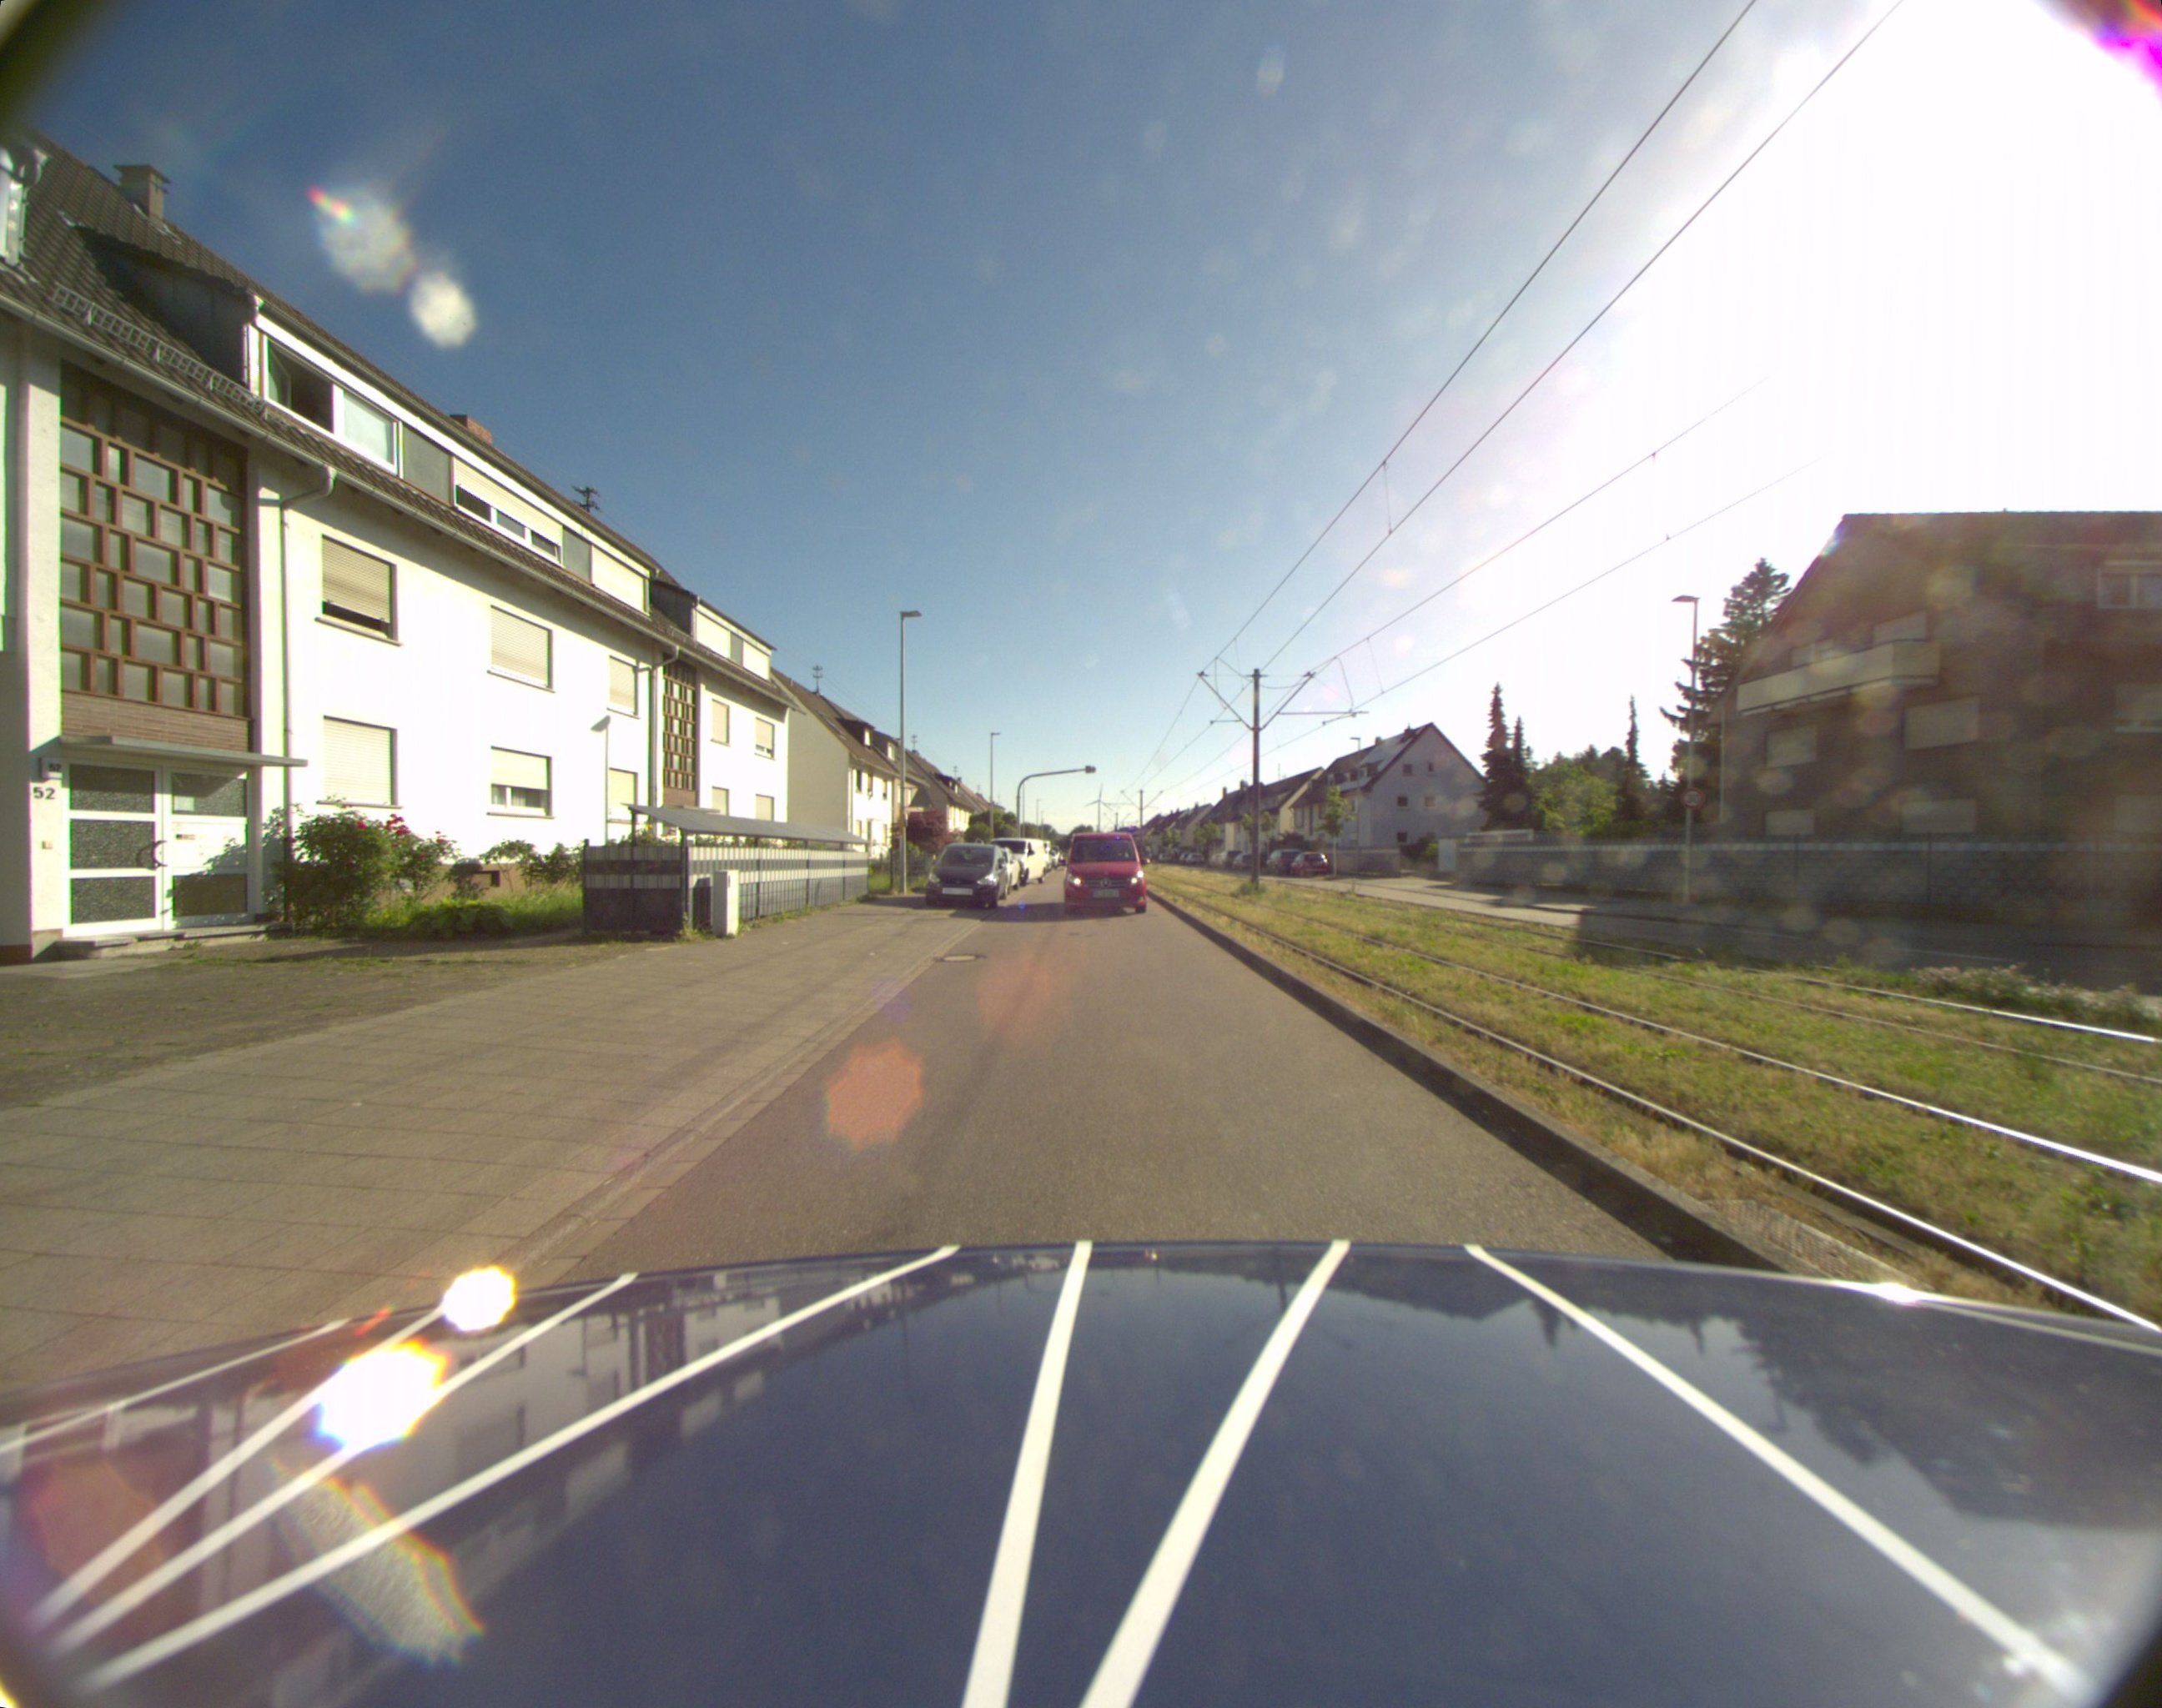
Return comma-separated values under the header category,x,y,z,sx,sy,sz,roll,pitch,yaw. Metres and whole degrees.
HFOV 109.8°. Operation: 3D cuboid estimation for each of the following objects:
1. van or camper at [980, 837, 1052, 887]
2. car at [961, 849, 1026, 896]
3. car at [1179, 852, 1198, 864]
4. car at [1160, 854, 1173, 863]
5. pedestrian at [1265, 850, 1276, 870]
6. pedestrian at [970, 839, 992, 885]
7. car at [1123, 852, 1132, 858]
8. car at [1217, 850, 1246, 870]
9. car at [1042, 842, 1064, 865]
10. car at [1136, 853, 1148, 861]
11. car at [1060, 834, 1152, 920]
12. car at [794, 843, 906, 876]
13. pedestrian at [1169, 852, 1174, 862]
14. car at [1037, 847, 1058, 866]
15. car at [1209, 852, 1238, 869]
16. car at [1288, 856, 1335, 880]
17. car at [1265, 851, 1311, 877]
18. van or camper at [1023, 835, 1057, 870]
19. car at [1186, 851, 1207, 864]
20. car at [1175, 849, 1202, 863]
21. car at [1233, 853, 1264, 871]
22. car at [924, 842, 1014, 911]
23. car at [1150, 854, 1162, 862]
category,x,y,z,sx,sy,sz,roll,pitch,yaw
van or camper,-2.663,0.302,32.459,2.032,1.945,5.297,1,0,7
car,-2.967,0.583,26.587,1.660,1.484,4.159,1,1,2
car,14.181,0.499,100.220,1.693,1.464,4.313,-1,1,-2
car,13.857,0.788,123.301,1.662,1.428,4.102,0,0,-2
pedestrian,16.261,0.509,65.230,0.697,1.631,0.919,-1,1,-2
pedestrian,-4.186,0.331,31.862,0.700,1.901,0.759,-1,1,9
car,11.173,0.171,182.643,1.705,1.389,4.091,-1,1,-2
car,14.125,0.541,71.678,1.749,1.812,4.841,-1,0,0
car,-2.712,-0.095,75.885,1.965,2.131,5.334,1,0,0
car,12.706,0.602,157.559,1.926,1.551,4.857,-1,1,-2
car,0.477,0.493,19.508,1.999,1.889,5.389,0,1,-2
car,-10.838,0.244,35.919,4.724,1.469,1.906,1,1,-2
pedestrian,15.509,0.498,130.045,0.617,1.805,0.678,-1,1,-10
car,-3.085,0.227,70.088,1.730,1.636,4.318,2,0,0
car,14.376,0.649,76.866,1.965,1.531,4.556,-1,1,0
car,14.229,0.843,47.085,1.699,1.396,4.078,1,0,1
car,14.224,0.618,52.477,1.824,1.674,4.845,-1,0,0
van or camper,-2.847,-0.112,53.782,1.998,2.258,6.304,2,1,0
car,14.264,0.390,94.115,1.693,1.467,4.441,-1,1,-2
car,18.621,0.323,131.808,4.472,2.069,1.787,-3,1,0
car,14.419,0.666,65.566,1.681,1.482,4.049,-1,0,-2
car,-2.978,0.551,21.160,1.796,1.619,4.860,3,0,-1
car,13.409,0.702,136.122,1.623,1.503,4.084,-1,0,0
